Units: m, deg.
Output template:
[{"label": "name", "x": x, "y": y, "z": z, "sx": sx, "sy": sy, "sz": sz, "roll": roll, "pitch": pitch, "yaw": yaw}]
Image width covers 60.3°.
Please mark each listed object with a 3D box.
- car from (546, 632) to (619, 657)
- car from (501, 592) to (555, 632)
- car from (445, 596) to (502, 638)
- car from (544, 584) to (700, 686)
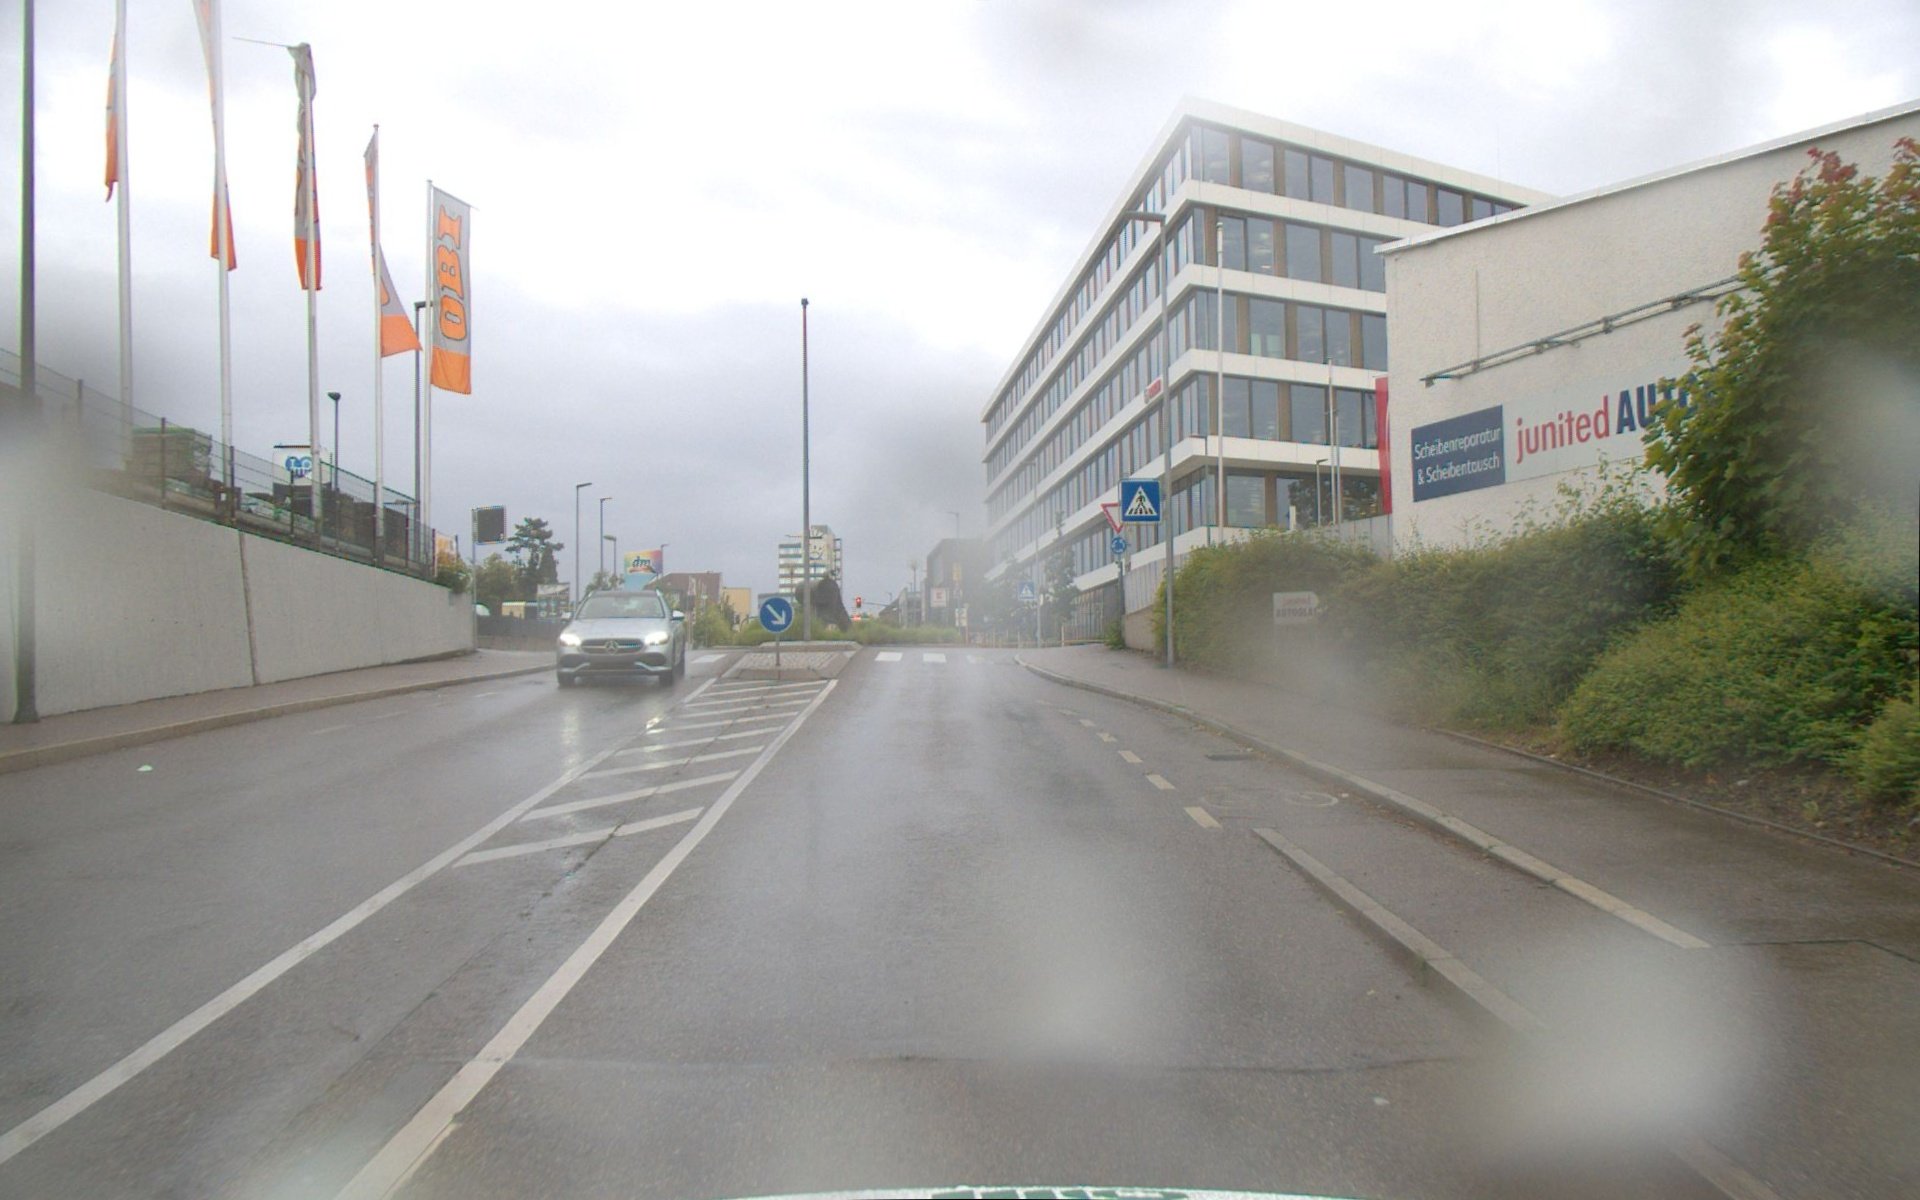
[{"label": "car", "x": -22.438, "y": 2.643, "z": 98.325, "sx": 3.969, "sy": 1.445, "sz": 1.755, "roll": 1, "pitch": -3, "yaw": -25}, {"label": "car", "x": -22.993, "y": 0.601, "z": 88.192, "sx": 1.955, "sy": 2.049, "sz": 4.994, "roll": -1, "pitch": 1, "yaw": -6}, {"label": "car", "x": -24.807, "y": 0.830, "z": 84.476, "sx": 1.955, "sy": 2.049, "sz": 4.993, "roll": -1, "pitch": 1, "yaw": -7}, {"label": "car", "x": -5.452, "y": 0.504, "z": 27.245, "sx": 1.962, "sy": 1.451, "sz": 4.776, "roll": -1, "pitch": 1, "yaw": -5}]
